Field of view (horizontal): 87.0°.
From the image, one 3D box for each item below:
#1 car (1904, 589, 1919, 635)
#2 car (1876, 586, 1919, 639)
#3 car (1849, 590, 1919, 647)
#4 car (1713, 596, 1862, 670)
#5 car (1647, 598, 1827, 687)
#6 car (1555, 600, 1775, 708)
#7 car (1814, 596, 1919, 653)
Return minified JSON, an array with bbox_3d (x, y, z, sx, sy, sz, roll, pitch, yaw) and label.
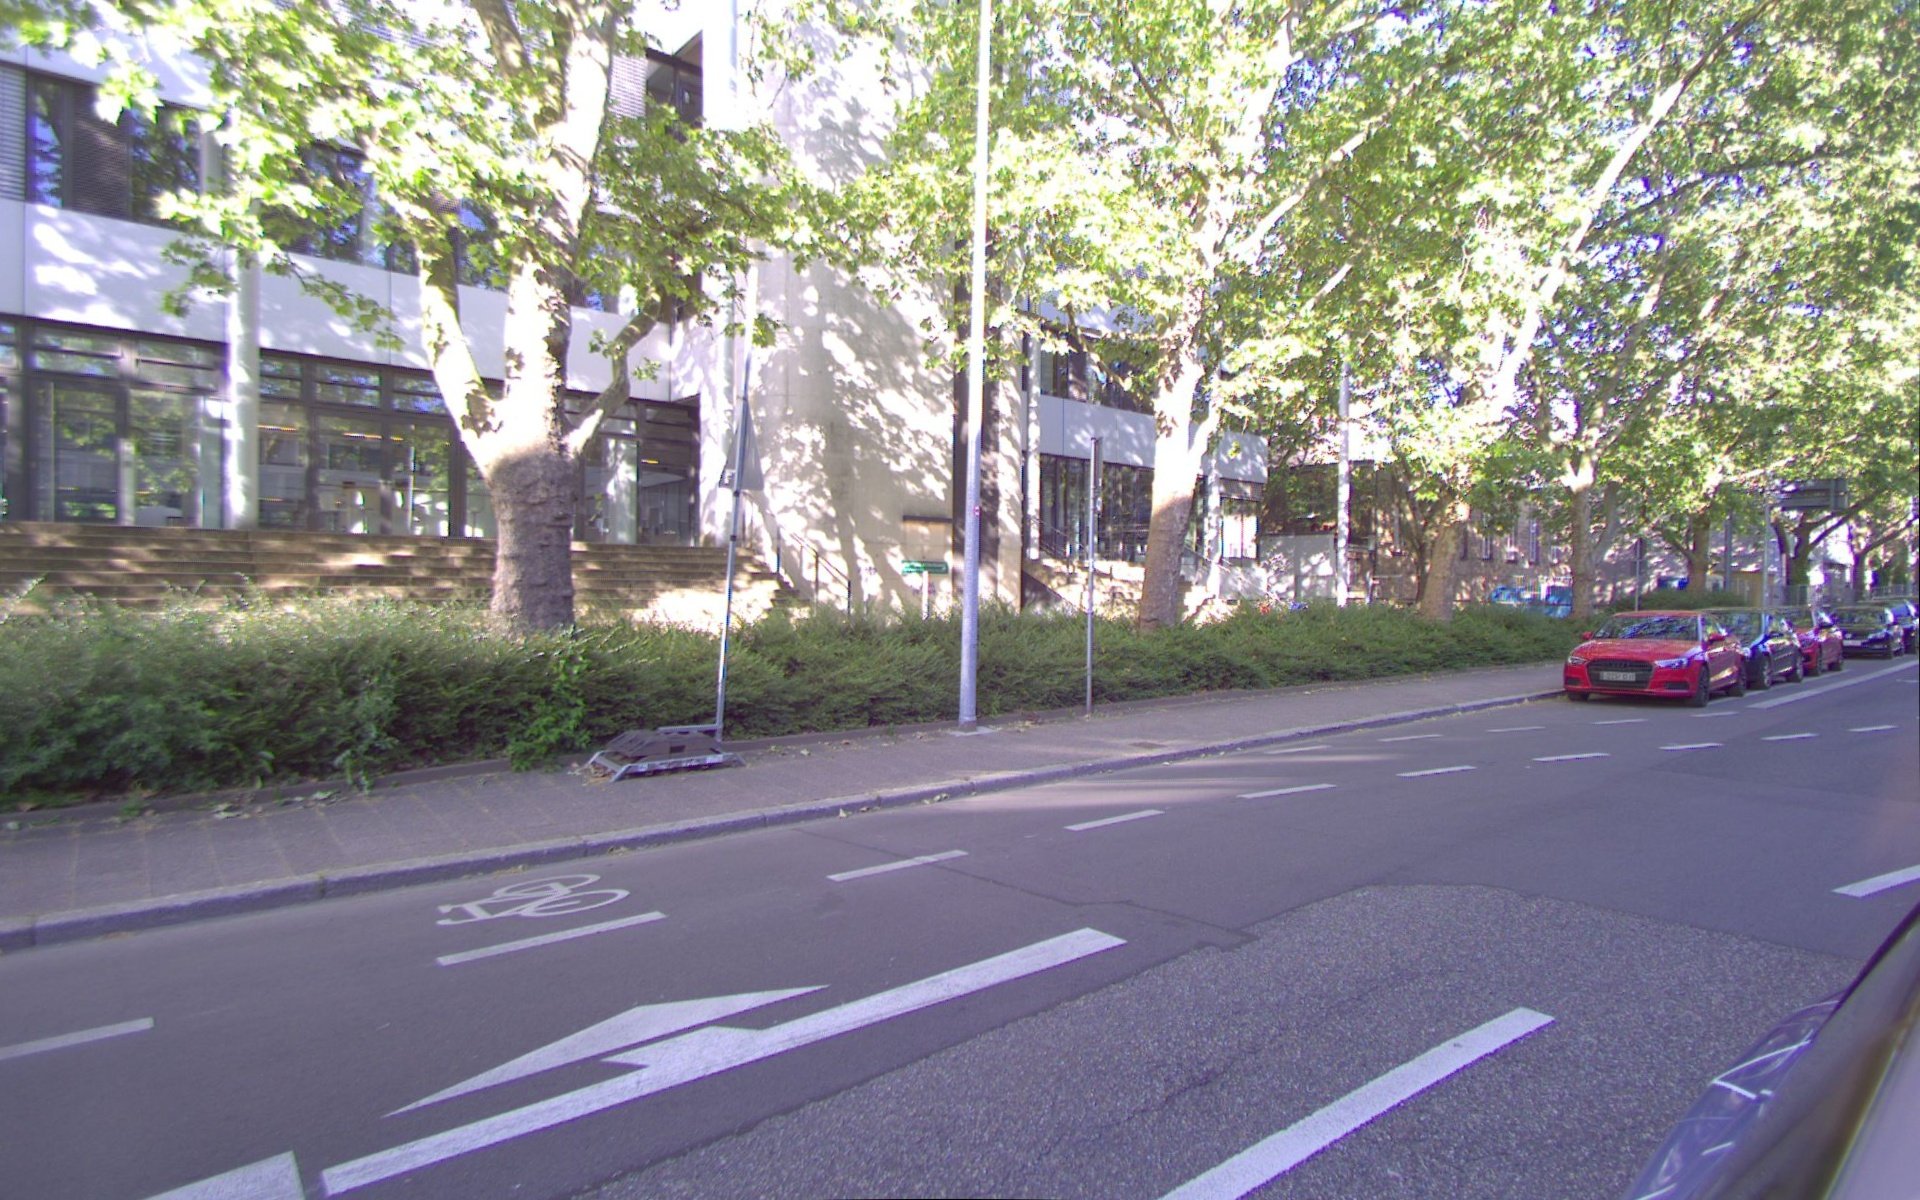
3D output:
[{"bbox_3d":[38.870,0.459,39.960,4.403,1.781,1.865,0,0,-41],"label":"car"},{"bbox_3d":[33.904,0.409,35.691,4.403,1.781,1.865,0,0,-41],"label":"car"},{"bbox_3d":[29.566,0.527,31.800,4.403,1.689,1.865,0,0,-41],"label":"car"},{"bbox_3d":[18.430,0.647,22.471,4.403,1.469,1.865,0,0,-41],"label":"car"},{"bbox_3d":[14.762,0.702,19.134,4.403,1.469,1.865,0,0,-41],"label":"car"},{"bbox_3d":[11.315,0.747,16.133,4.403,1.469,1.865,0,0,-41],"label":"car"},{"bbox_3d":[25.786,0.633,28.605,4.403,1.469,1.865,0,0,-41],"label":"car"}]
